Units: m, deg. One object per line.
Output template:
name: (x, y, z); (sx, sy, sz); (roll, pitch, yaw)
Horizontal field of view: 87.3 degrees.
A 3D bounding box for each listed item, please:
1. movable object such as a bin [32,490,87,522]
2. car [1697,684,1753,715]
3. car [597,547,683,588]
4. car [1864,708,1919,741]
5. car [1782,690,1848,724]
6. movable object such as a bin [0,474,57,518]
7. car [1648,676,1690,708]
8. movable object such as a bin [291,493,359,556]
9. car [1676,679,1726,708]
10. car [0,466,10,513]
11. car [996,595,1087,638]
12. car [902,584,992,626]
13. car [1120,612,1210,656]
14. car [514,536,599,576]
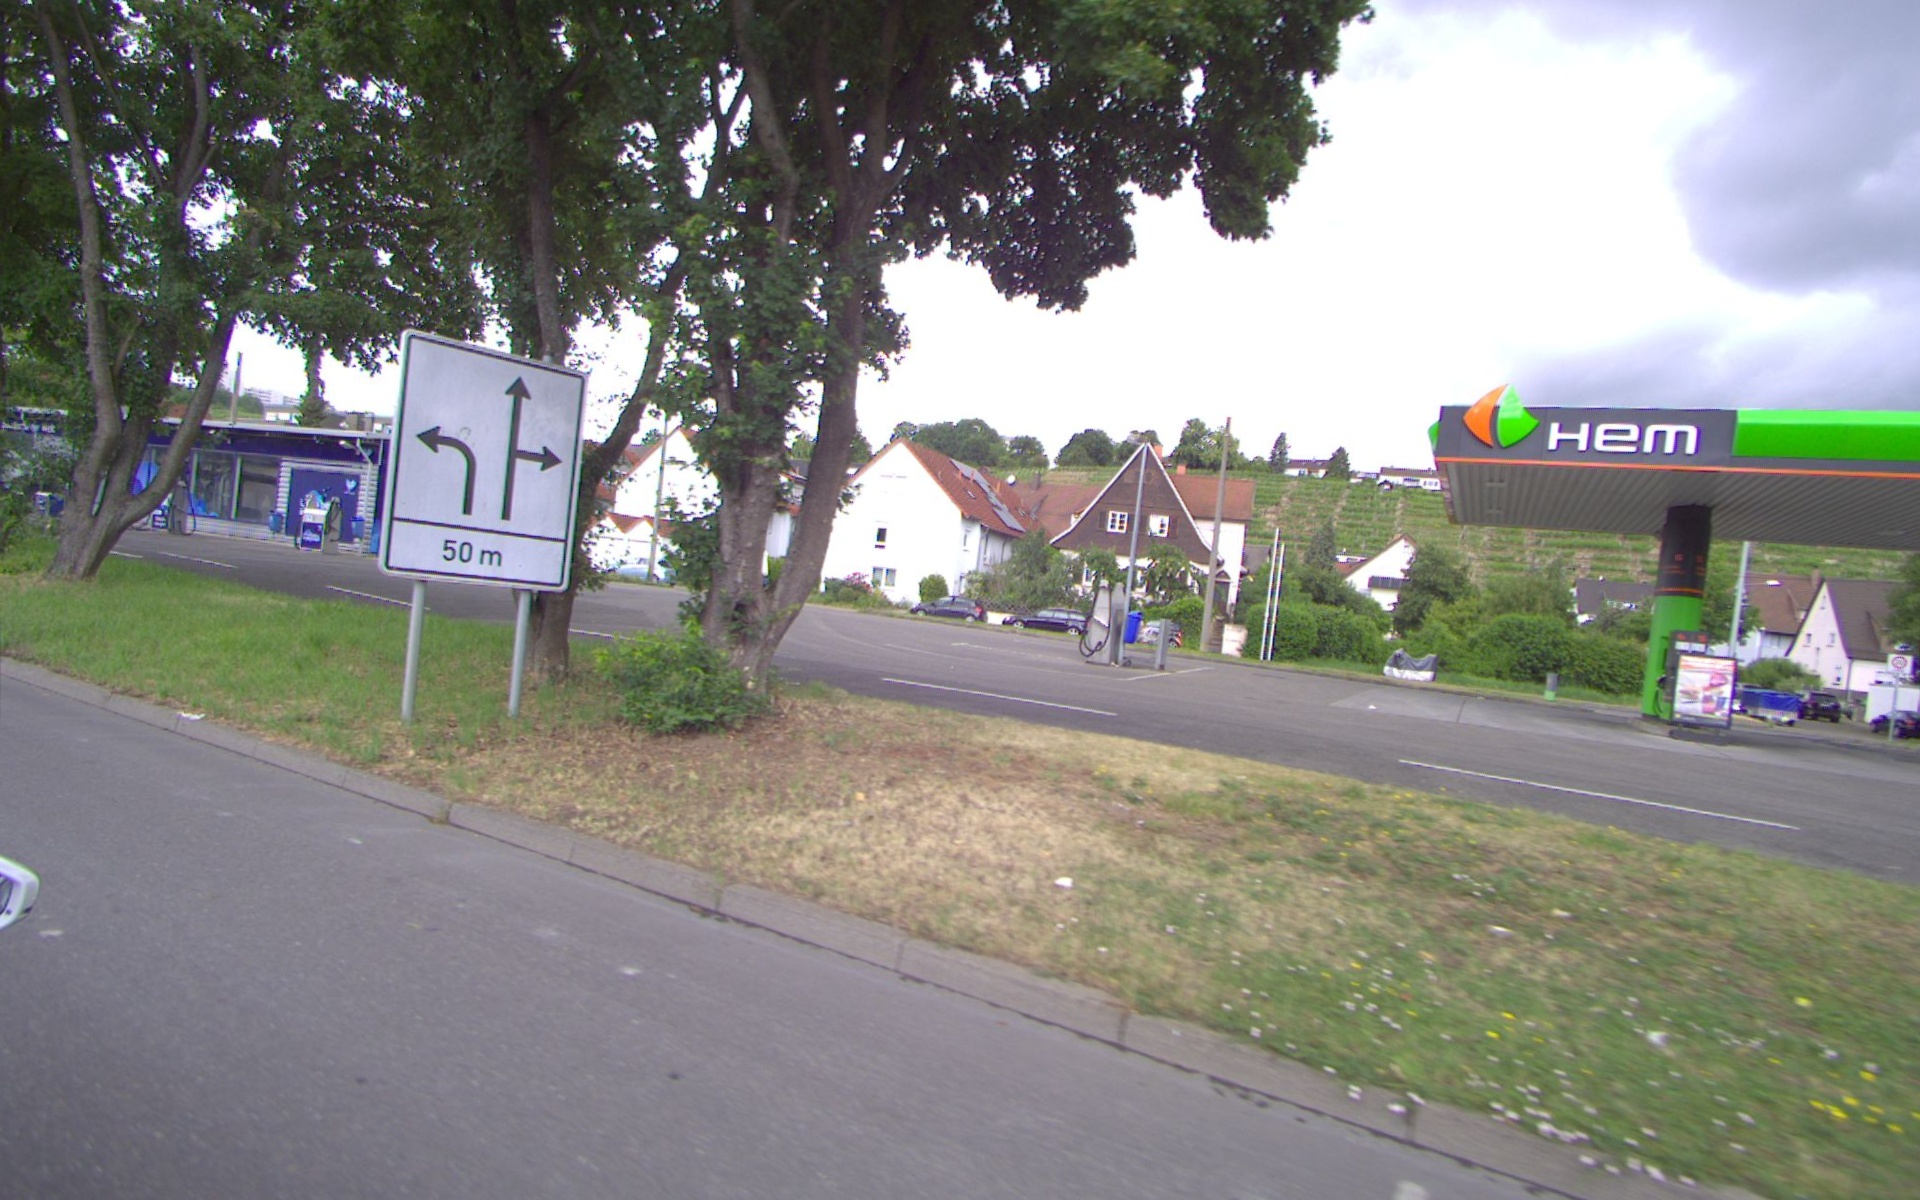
movable object such as a bin: (-34.490, -3.589, 38.535); (1.167, 0.989, 1.161); (7, 1, 24)
car: (41.311, 5.400, 54.388); (1.640, 1.420, 3.877); (7, -2, 28)
car: (-17.272, -1.758, 54.396); (3.924, 1.593, 1.788); (8, -2, 11)
car: (47.226, 6.271, 50.223); (1.810, 1.235, 3.997); (7, 1, 23)
car: (51.856, 6.442, 61.079); (1.965, 1.557, 3.994); (7, 1, 26)
movable object such as a bin: (-37.110, -4.148, 40.082); (1.362, 1.493, 1.161); (7, 1, 24)
car: (48.949, 6.372, 69.529); (1.640, 1.896, 3.877); (7, -2, 28)
movable object such as a bin: (-20.827, -2.479, 33.006); (1.429, 1.842, 1.161); (7, 1, 24)
car: (43.876, 5.577, 59.606); (1.640, 1.420, 3.877); (7, -2, 28)
car: (-38.373, -4.409, 37.918); (1.724, 1.844, 4.369); (6, 1, -15)
car: (3.972, 0.818, 48.732); (3.924, 1.481, 2.002); (7, -2, 16)
car: (-0.614, 0.261, 50.062); (3.924, 1.481, 2.002); (7, -2, 16)
car: (9.677, 1.596, 47.398); (3.924, 1.481, 2.002); (7, -2, 16)
car: (-22.397, -2.426, 55.913); (3.924, 1.593, 1.788); (8, -2, 12)
